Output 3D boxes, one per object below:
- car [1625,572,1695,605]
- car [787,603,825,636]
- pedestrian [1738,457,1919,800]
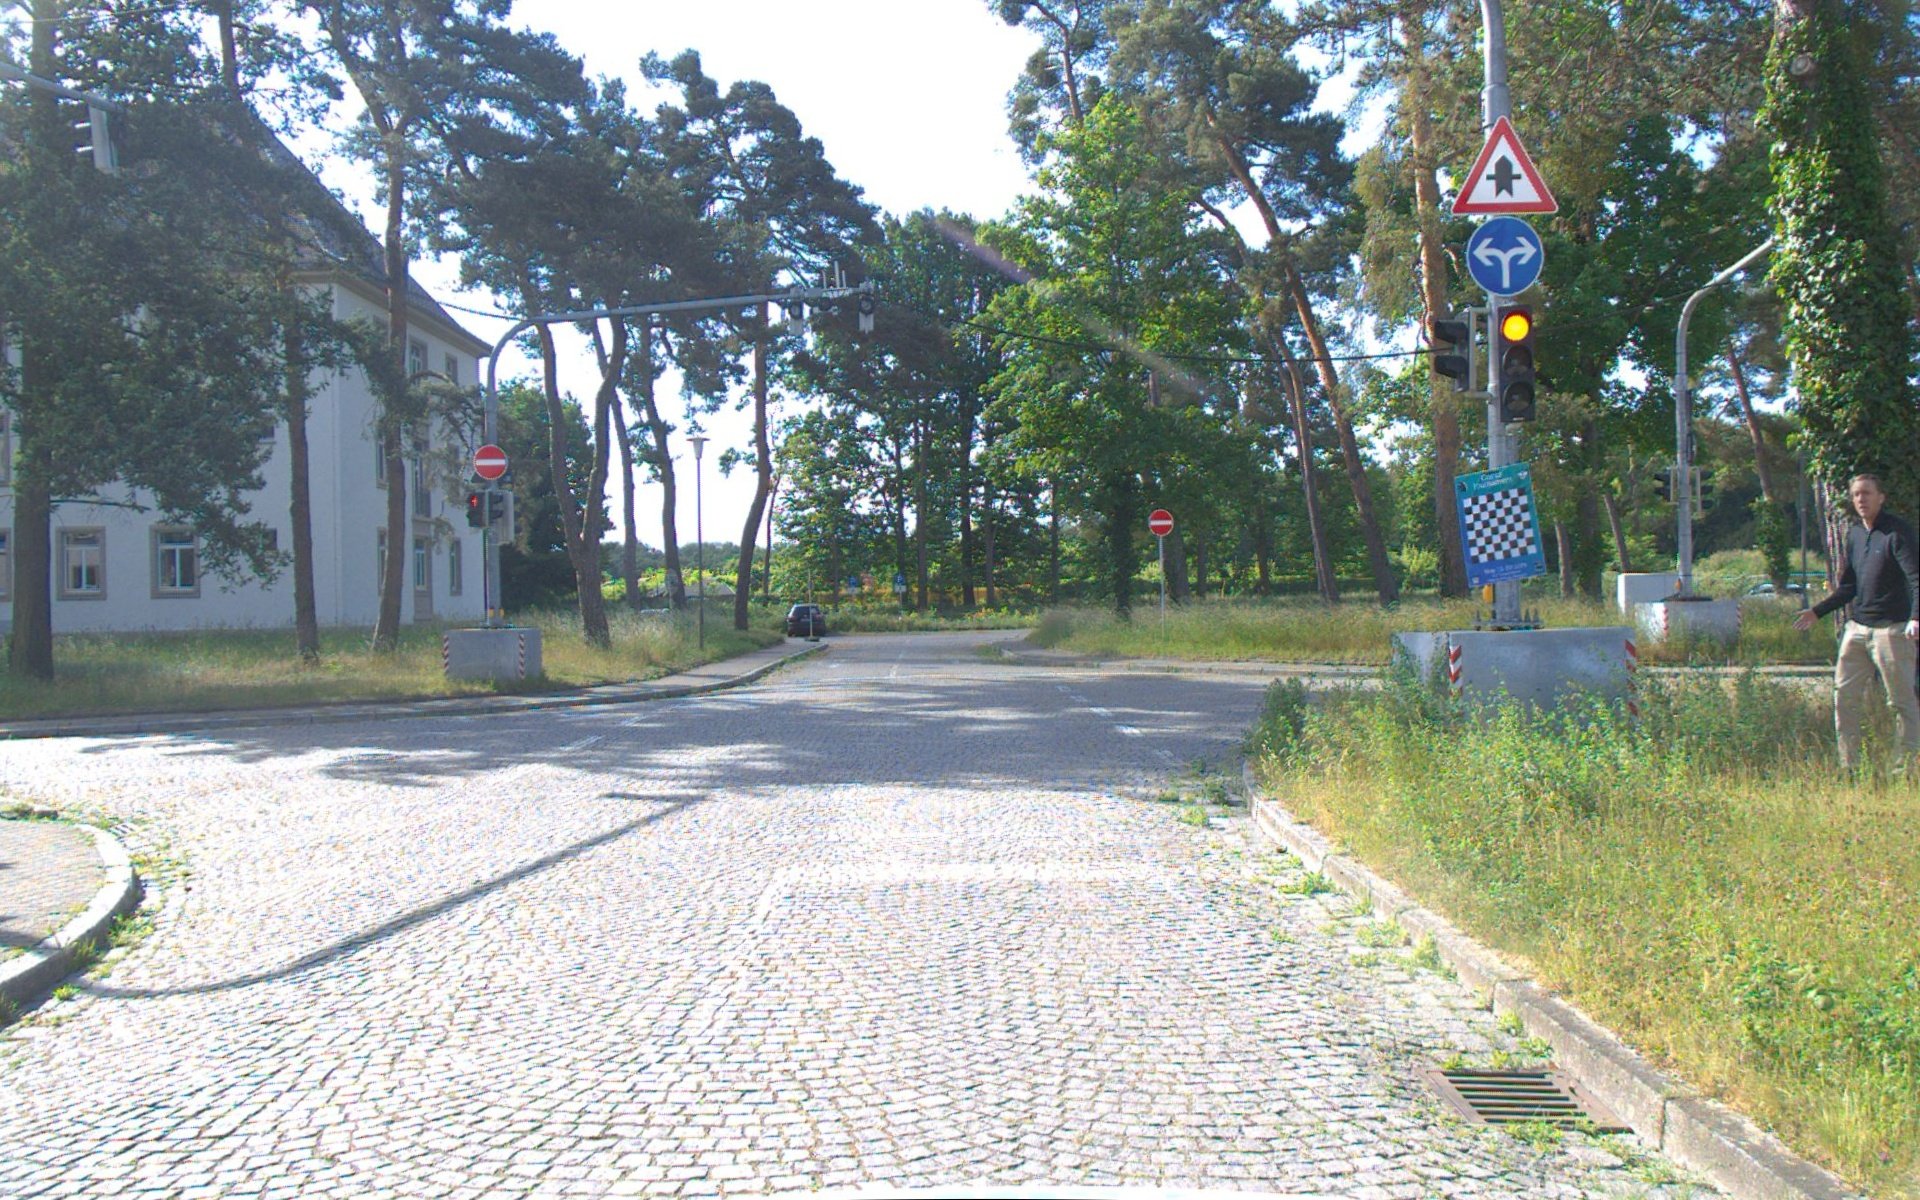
[{"bbox_3d":[36.943,-0.595,87.377,1.790,1.609,4.161,-2,0,-1],"label":"car"},{"bbox_3d":[-7.428,0.936,80.269,1.676,1.522,3.916,-2,0,-4],"label":"car"},{"bbox_3d":[5.381,0.140,9.566,1.044,1.827,1.165,-2,0,-21],"label":"pedestrian"}]
